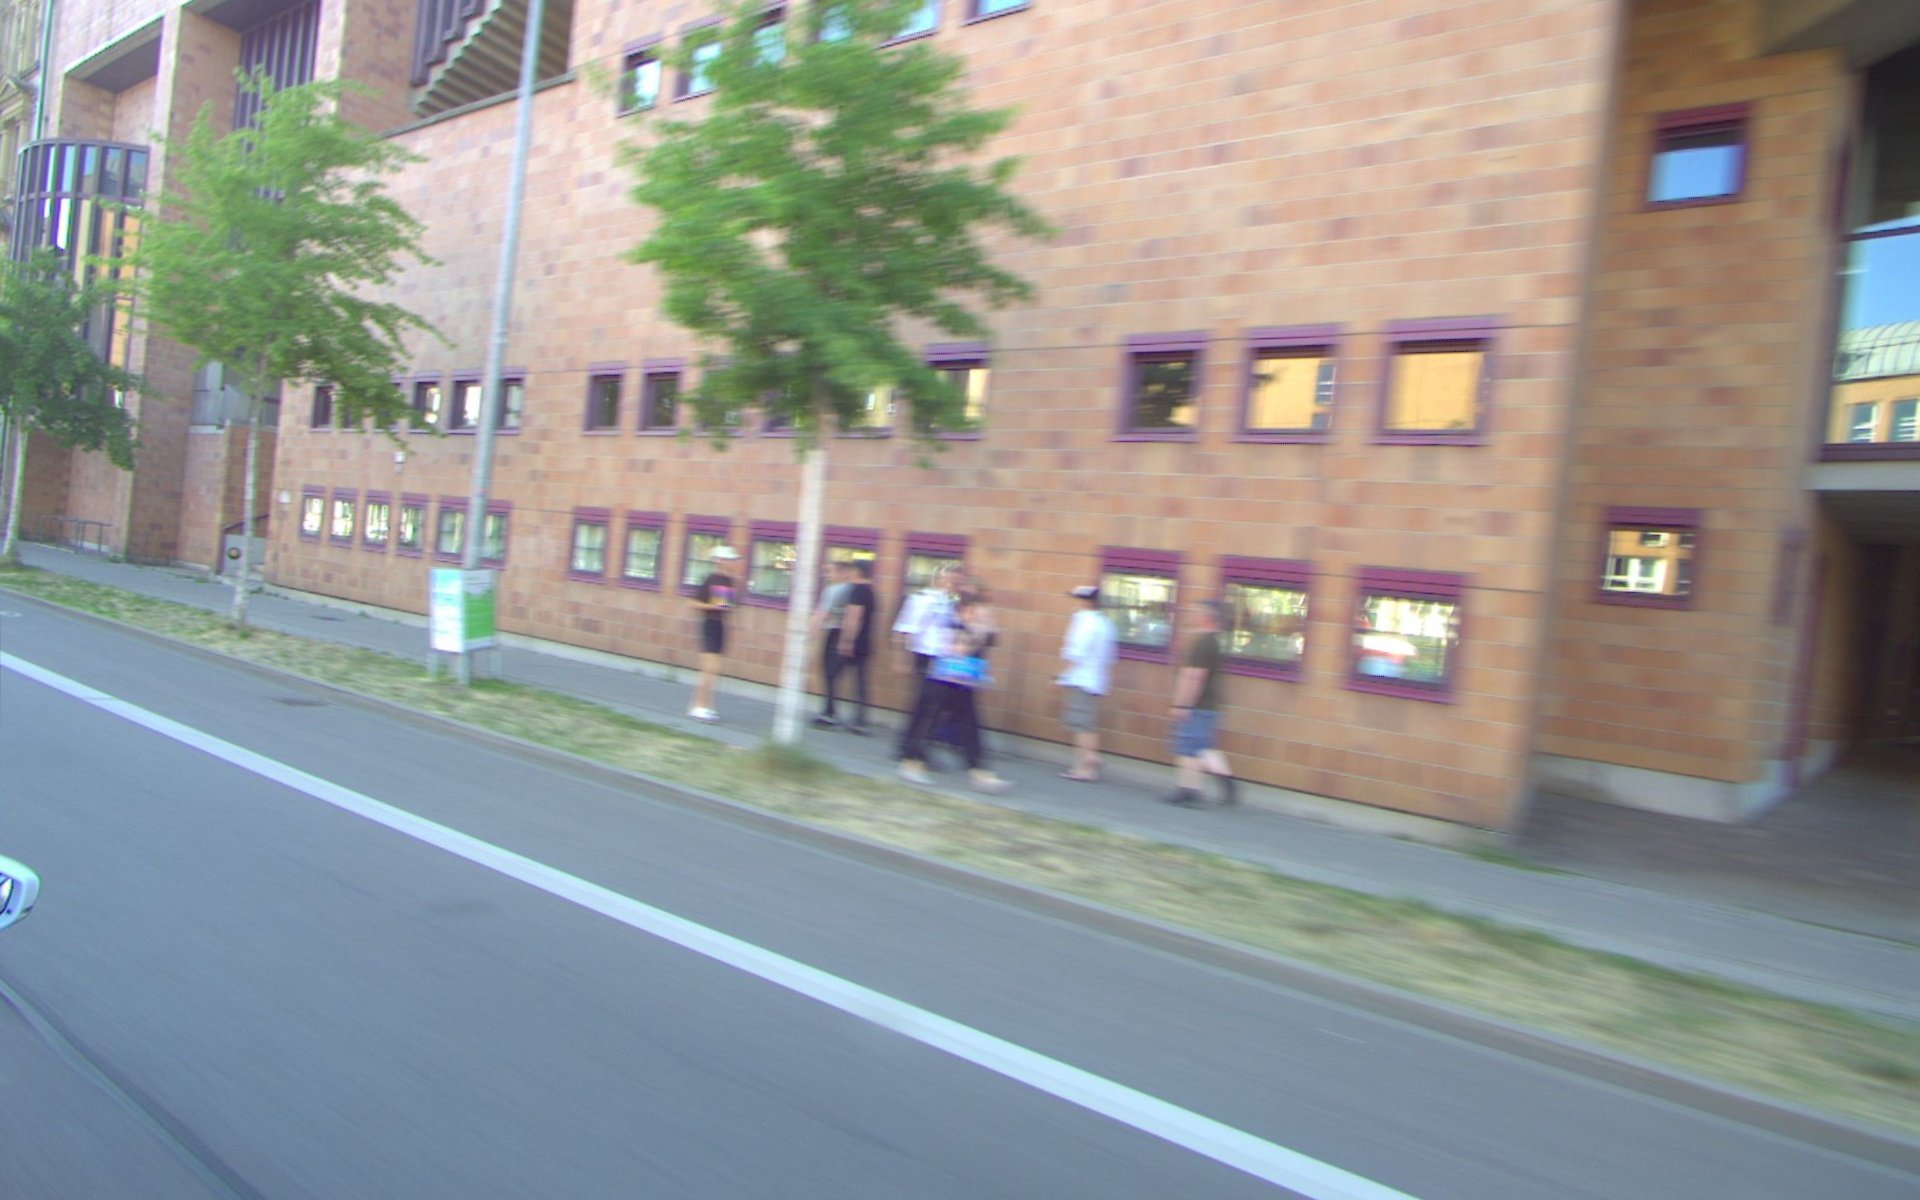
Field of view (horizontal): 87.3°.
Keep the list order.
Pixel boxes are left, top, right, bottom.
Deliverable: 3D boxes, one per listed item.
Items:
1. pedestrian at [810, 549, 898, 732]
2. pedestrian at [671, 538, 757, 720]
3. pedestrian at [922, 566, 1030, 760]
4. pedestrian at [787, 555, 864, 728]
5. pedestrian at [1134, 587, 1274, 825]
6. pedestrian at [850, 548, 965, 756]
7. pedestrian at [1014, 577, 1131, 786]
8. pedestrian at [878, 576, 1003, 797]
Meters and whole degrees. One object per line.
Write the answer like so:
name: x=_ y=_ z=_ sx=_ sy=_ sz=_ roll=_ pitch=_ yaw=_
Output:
pedestrian: x=-1.075 y=0.414 z=10.202 sx=0.534 sy=1.778 sz=0.459 roll=5 pitch=1 yaw=-44
pedestrian: x=-2.484 y=0.301 z=10.180 sx=0.416 sy=1.778 sz=0.535 roll=7 pitch=1 yaw=41
pedestrian: x=0.153 y=0.604 z=9.820 sx=0.686 sy=1.778 sz=0.535 roll=7 pitch=1 yaw=43
pedestrian: x=-1.445 y=0.437 z=10.765 sx=0.419 sy=1.778 sz=0.532 roll=5 pitch=1 yaw=-41
pedestrian: x=1.994 y=0.840 z=8.199 sx=0.685 sy=1.778 sz=0.732 roll=7 pitch=1 yaw=39
pedestrian: x=-0.465 y=0.454 z=8.951 sx=0.631 sy=1.735 sz=0.570 roll=7 pitch=1 yaw=38
pedestrian: x=1.013 y=0.721 z=9.081 sx=0.534 sy=1.778 sz=0.687 roll=6 pitch=1 yaw=-41
pedestrian: x=-0.150 y=0.668 z=8.030 sx=0.691 sy=1.625 sz=0.517 roll=7 pitch=1 yaw=20
